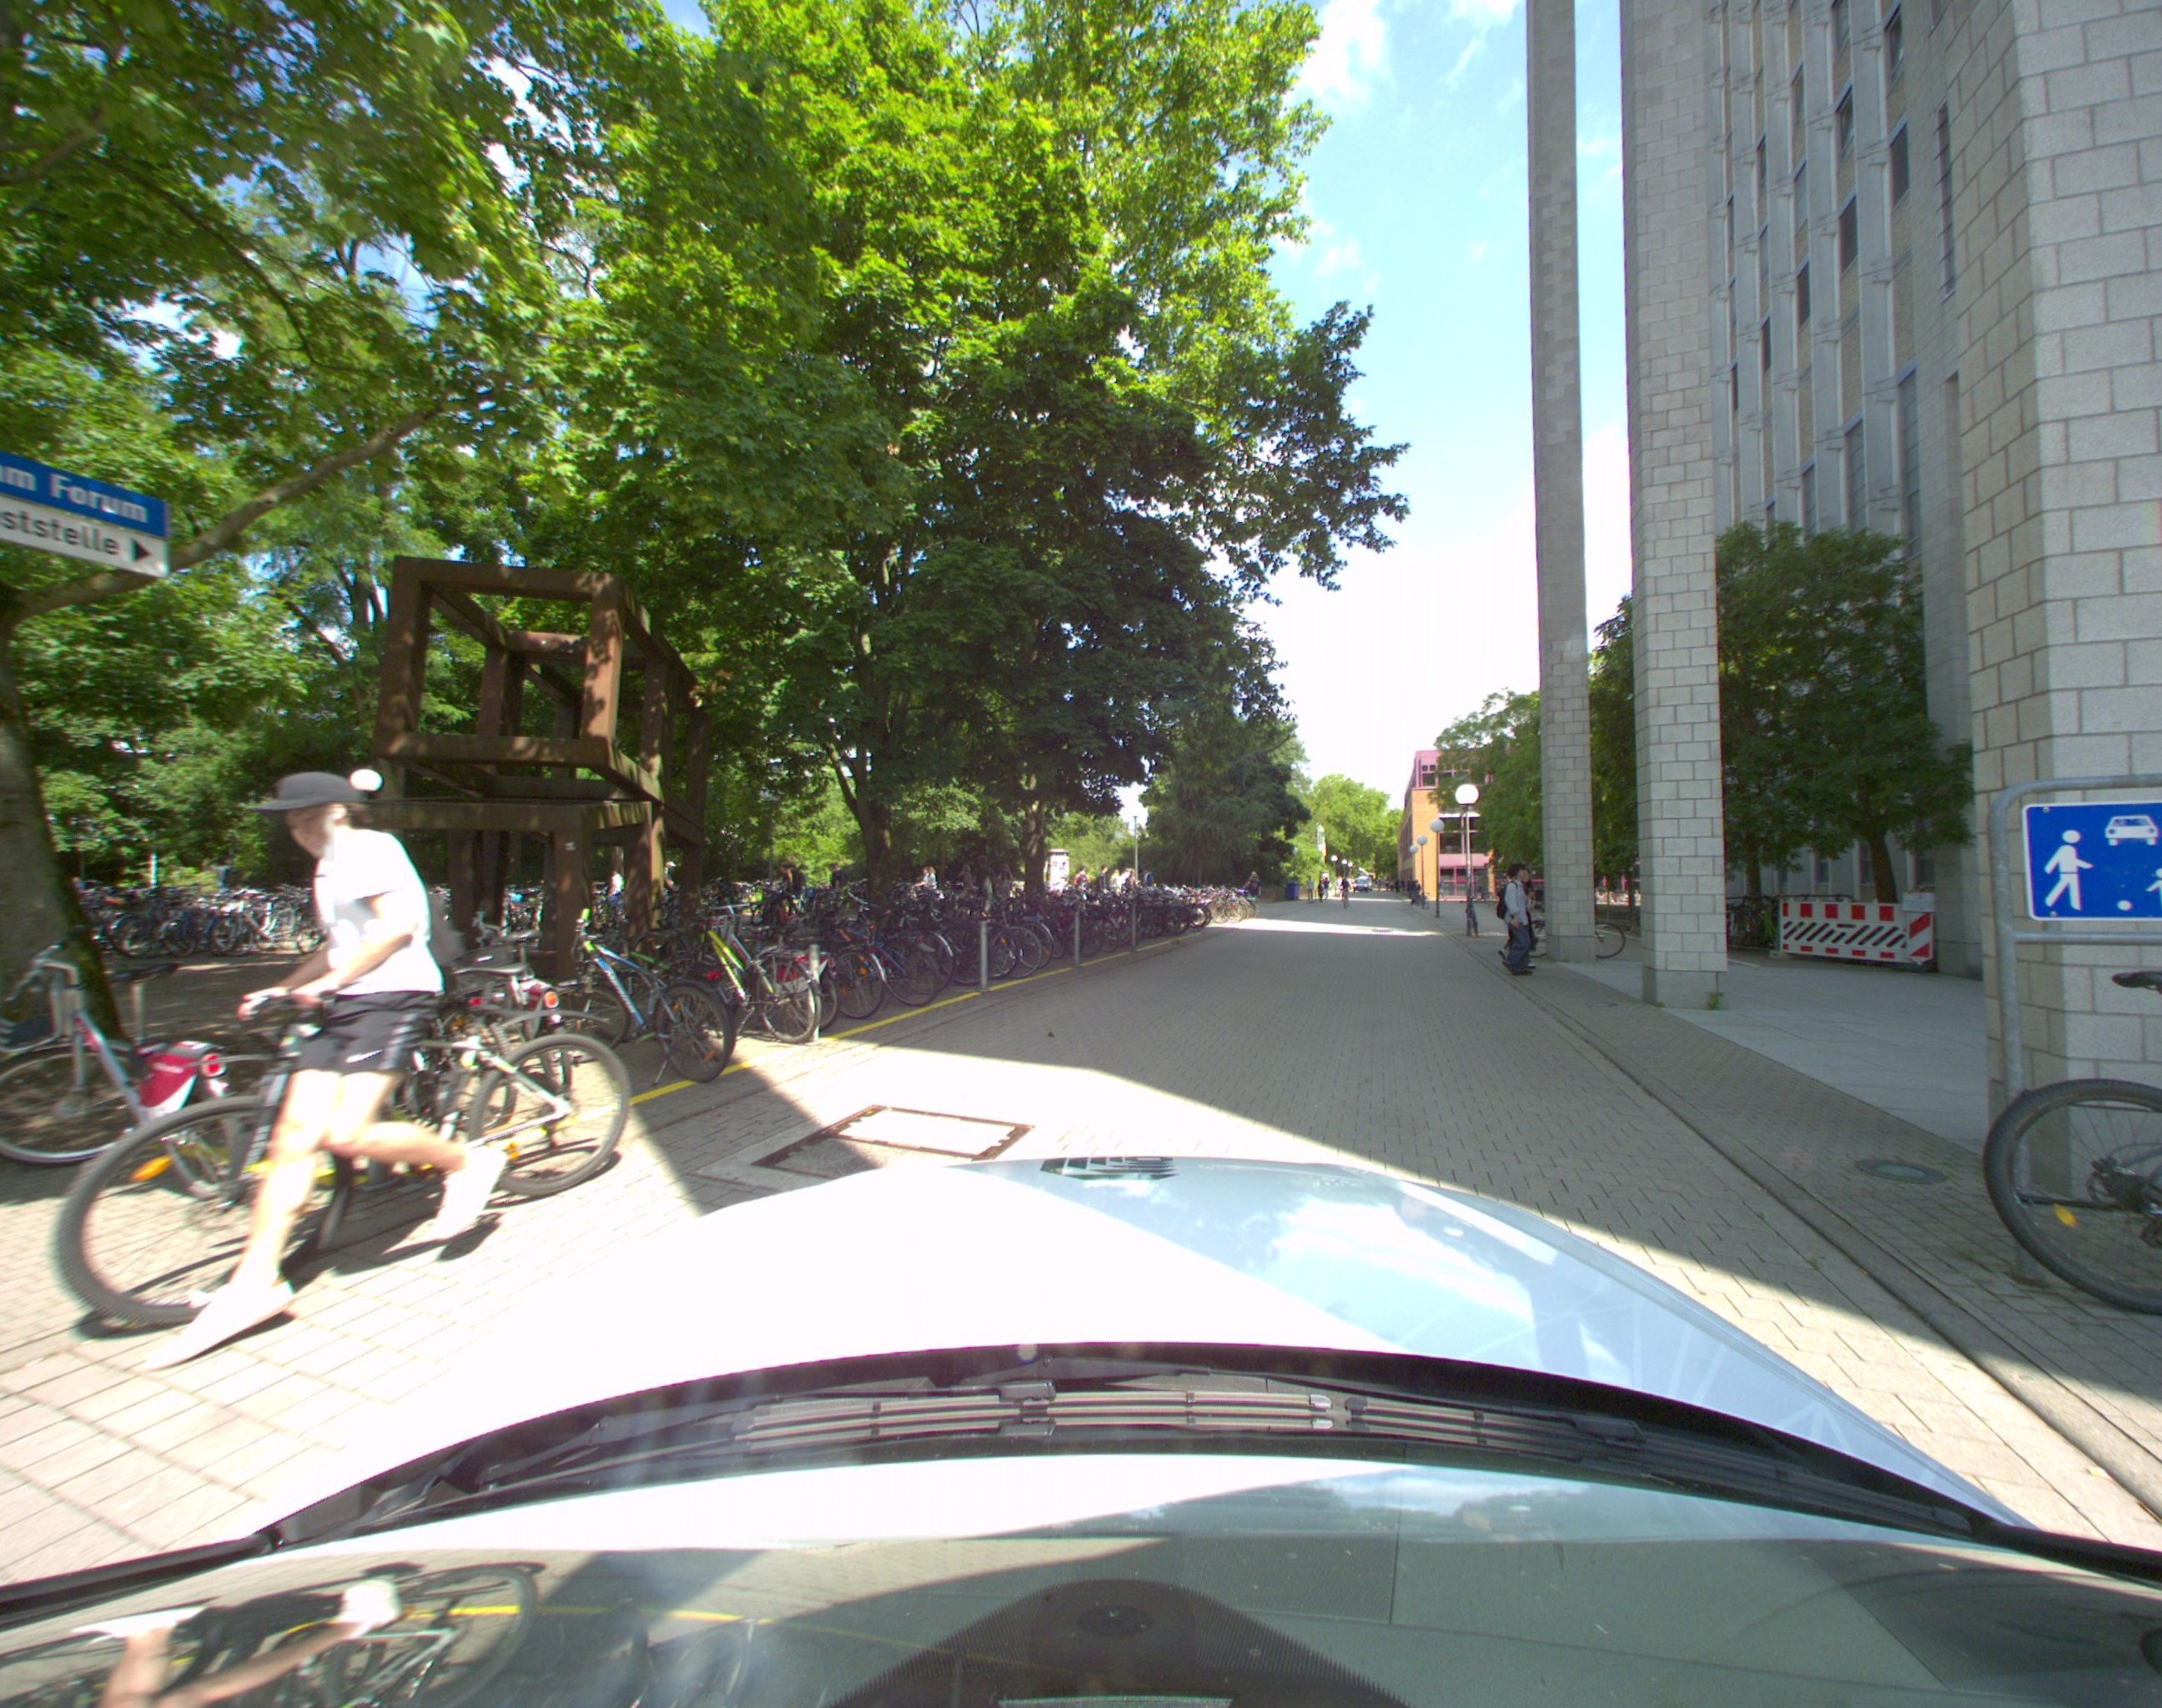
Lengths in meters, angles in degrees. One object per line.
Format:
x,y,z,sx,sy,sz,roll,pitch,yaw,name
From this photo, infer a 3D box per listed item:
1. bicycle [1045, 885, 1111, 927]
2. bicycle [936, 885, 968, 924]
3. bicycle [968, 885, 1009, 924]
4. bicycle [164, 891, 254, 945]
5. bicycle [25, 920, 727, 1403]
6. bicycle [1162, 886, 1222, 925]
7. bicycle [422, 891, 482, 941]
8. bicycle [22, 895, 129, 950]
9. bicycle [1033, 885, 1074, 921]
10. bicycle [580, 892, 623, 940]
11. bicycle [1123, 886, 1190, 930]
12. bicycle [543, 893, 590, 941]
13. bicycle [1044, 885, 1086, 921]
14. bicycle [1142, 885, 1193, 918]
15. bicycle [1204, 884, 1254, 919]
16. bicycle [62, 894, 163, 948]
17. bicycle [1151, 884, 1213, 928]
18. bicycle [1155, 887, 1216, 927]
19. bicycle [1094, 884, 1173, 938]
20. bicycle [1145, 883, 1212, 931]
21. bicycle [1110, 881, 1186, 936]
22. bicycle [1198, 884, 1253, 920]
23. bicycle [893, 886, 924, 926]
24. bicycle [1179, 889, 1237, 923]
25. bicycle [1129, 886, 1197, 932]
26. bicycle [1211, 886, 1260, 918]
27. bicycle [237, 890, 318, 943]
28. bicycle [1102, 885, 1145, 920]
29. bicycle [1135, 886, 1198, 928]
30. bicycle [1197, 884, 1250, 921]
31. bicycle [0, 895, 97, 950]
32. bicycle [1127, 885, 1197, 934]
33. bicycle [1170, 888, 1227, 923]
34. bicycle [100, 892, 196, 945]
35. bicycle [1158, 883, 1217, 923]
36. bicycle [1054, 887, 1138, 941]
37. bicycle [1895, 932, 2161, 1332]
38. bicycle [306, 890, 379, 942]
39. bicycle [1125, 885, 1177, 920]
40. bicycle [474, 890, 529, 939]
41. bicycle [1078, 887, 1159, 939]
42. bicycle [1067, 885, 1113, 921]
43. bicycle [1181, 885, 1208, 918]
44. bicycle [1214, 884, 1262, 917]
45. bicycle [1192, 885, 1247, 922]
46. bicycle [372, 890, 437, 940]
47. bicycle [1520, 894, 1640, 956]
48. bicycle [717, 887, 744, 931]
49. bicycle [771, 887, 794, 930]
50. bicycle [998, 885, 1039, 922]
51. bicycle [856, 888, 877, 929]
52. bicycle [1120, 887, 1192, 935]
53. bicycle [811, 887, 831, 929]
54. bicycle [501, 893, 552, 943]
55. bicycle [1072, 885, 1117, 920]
-0.076,1.395,21.912,1.684,1.108,0.504,0,-2,9,bicycle
-3.799,1.468,23.854,0.475,1.084,1.685,1,-2,-25,bicycle
-2.764,1.473,24.161,0.476,1.084,1.681,2,-2,-34,bicycle
-19.310,1.390,18.077,0.474,1.084,1.848,1,-2,-17,bicycle
-2.504,0.910,3.218,0.795,1.172,1.898,0,-2,29,bicycle
3.239,1.504,23.857,1.692,1.108,0.473,1,-2,-7,bicycle
-14.855,1.434,19.282,0.474,1.084,1.848,1,-2,-17,bicycle
-21.814,1.453,17.714,0.474,1.084,1.848,1,-2,-17,bicycle
-0.869,1.515,25.434,0.476,1.084,1.681,2,-2,-34,bicycle
-11.802,1.501,20.091,0.474,1.084,1.848,1,-2,-17,bicycle
1.934,1.375,20.867,1.684,1.108,0.475,0,-2,9,bicycle
-12.440,1.499,19.749,0.474,1.084,1.848,1,-2,-17,bicycle
-0.526,1.536,25.781,0.476,1.084,1.681,2,-2,-34,bicycle
2.947,1.596,27.791,1.678,1.084,0.477,-1,-2,32,bicycle
5.104,1.621,28.114,1.682,1.168,0.476,0,-2,14,bicycle
-21.316,1.455,17.983,0.474,1.084,1.848,1,-2,-17,bicycle
2.811,1.435,22.667,1.684,1.188,0.475,0,-2,9,bicycle
2.985,1.498,23.167,1.684,1.108,0.584,0,-2,9,bicycle
1.191,1.281,18.578,1.720,1.179,0.499,0,-2,19,bicycle
2.559,1.370,21.283,1.683,1.199,0.538,0,-2,12,bicycle
1.568,1.253,19.043,1.723,1.236,0.498,0,-2,13,bicycle
4.831,1.583,27.303,1.758,1.168,0.477,-1,-2,33,bicycle
-4.980,1.487,23.472,0.475,1.084,1.685,1,-2,-25,bicycle
3.894,1.594,24.969,1.697,1.019,0.472,1,-2,-15,bicycle
2.058,1.369,20.424,1.684,1.108,0.475,0,-2,8,bicycle
5.455,1.697,28.798,1.682,1.091,0.476,0,-2,14,bicycle
-18.029,1.376,18.326,0.474,1.084,1.848,1,-2,-17,bicycle
1.367,1.545,26.507,0.476,1.084,1.681,2,-2,-34,bicycle
2.350,1.444,22.243,1.684,1.108,0.567,0,-2,9,bicycle
4.639,1.567,26.613,1.685,1.168,0.475,0,-2,7,bicycle
-22.409,1.451,17.601,0.474,1.084,1.848,1,-2,-17,bicycle
1.994,1.352,19.959,1.684,1.145,0.475,0,-2,8,bicycle
3.668,1.588,25.427,1.697,1.062,0.472,1,-2,-15,bicycle
-20.663,1.397,18.086,0.474,1.084,1.848,1,-2,-17,bicycle
3.183,1.461,24.320,1.692,1.157,0.473,1,-2,-7,bicycle
0.307,1.267,17.247,1.731,1.108,0.496,0,-2,-4,bicycle
4.026,0.858,2.636,1.866,1.164,0.607,-3,-1,15,bicycle
-16.860,1.388,18.642,0.474,1.084,1.848,1,-2,-17,bicycle
2.305,1.592,26.876,1.677,1.084,0.477,-1,-2,33,bicycle
-13.802,1.417,19.445,0.474,1.084,1.848,1,-2,-17,bicycle
0.837,1.294,17.967,1.725,1.108,0.498,0,-2,7,bicycle
0.265,1.525,25.639,0.476,1.084,1.680,2,-2,-38,bicycle
3.982,1.652,28.607,0.502,1.084,1.709,0,-2,23,bicycle
5.640,1.659,29.234,1.683,1.159,0.475,0,-2,11,bicycle
4.425,1.573,26.111,1.687,1.168,0.474,0,-2,3,bicycle
-15.834,1.397,19.113,0.474,1.084,1.848,1,-2,-17,bicycle
8.769,1.246,14.377,1.725,1.039,0.451,-2,-1,15,bicycle
-9.248,1.436,21.524,0.474,1.084,1.689,1,-2,-17,bicycle
-7.852,1.416,21.477,0.474,1.084,1.689,1,-2,-17,bicycle
-1.930,1.493,24.910,0.476,1.084,1.681,2,-2,-34,bicycle
-6.004,1.490,22.727,0.474,1.084,1.689,1,-2,-17,bicycle
1.796,1.344,19.469,1.684,1.108,0.498,0,-2,9,bicycle
-7.033,1.444,22.066,0.474,1.084,1.689,1,-2,-17,bicycle
-13.288,1.509,19.563,0.474,1.084,1.848,1,-2,-17,bicycle
0.428,1.549,26.233,0.476,1.084,1.680,2,-2,-38,bicycle
